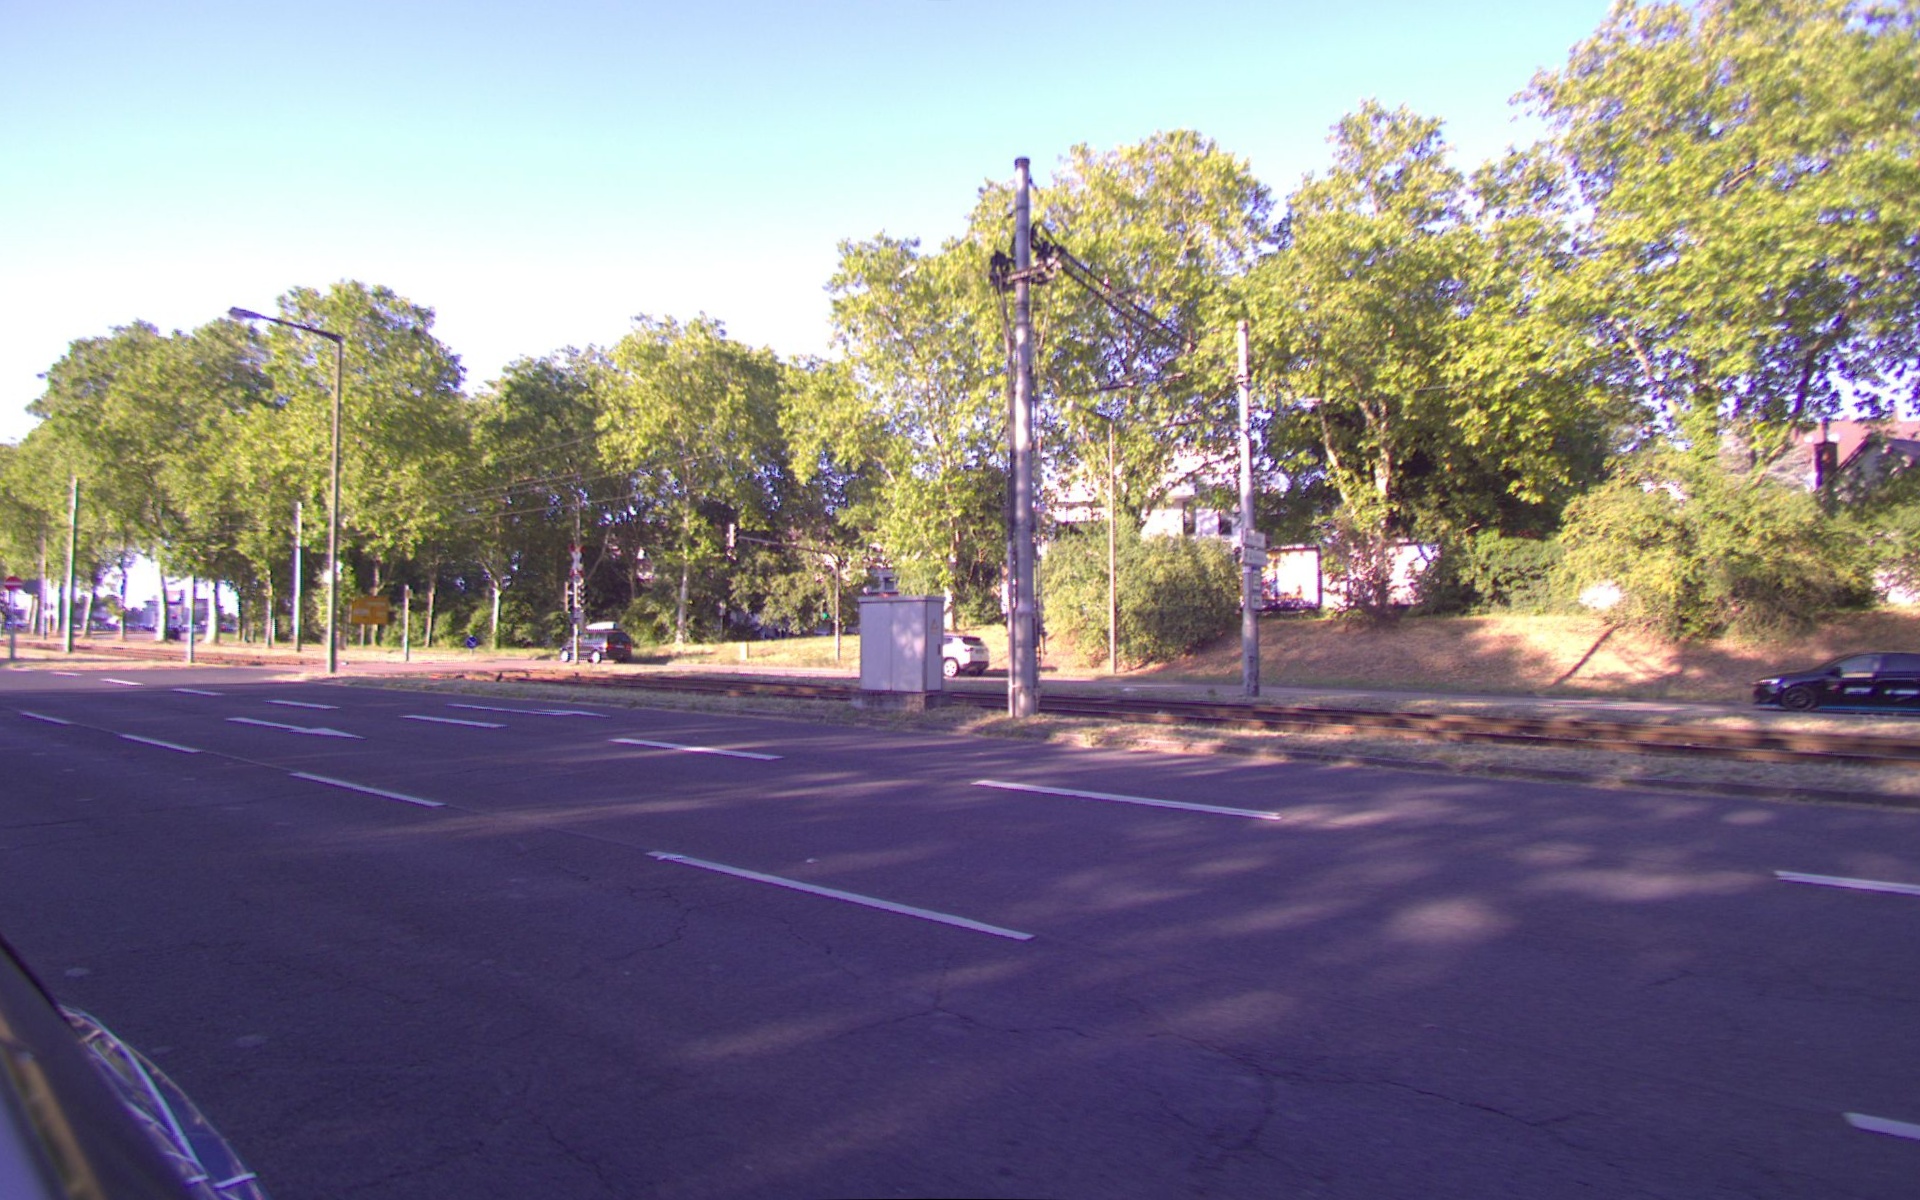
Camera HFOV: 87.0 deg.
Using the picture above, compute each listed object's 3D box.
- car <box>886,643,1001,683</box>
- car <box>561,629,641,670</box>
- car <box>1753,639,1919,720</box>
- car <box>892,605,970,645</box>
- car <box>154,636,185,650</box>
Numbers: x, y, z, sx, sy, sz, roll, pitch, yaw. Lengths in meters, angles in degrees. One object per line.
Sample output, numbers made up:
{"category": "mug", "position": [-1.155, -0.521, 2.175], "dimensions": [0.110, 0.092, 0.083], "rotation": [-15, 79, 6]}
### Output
{"category": "car", "position": [-0.676, 2.423, 39.362], "dimensions": [4.185, 1.452, 1.974], "rotation": [-2, -4, 38]}
{"category": "car", "position": [-18.841, 2.594, 53.071], "dimensions": [4.185, 2.082, 1.974], "rotation": [-2, -4, 38]}
{"category": "car", "position": [20.475, 1.758, 22.685], "dimensions": [4.185, 1.694, 1.974], "rotation": [-2, -4, 39]}
{"category": "car", "position": [-2.001, 1.753, 68.964], "dimensions": [5.627, 2.532, 1.781], "rotation": [-3, -5, 42]}
{"category": "car", "position": [-83.239, 4.566, 106.582], "dimensions": [3.979, 1.453, 1.609], "rotation": [-2, -5, 37]}
